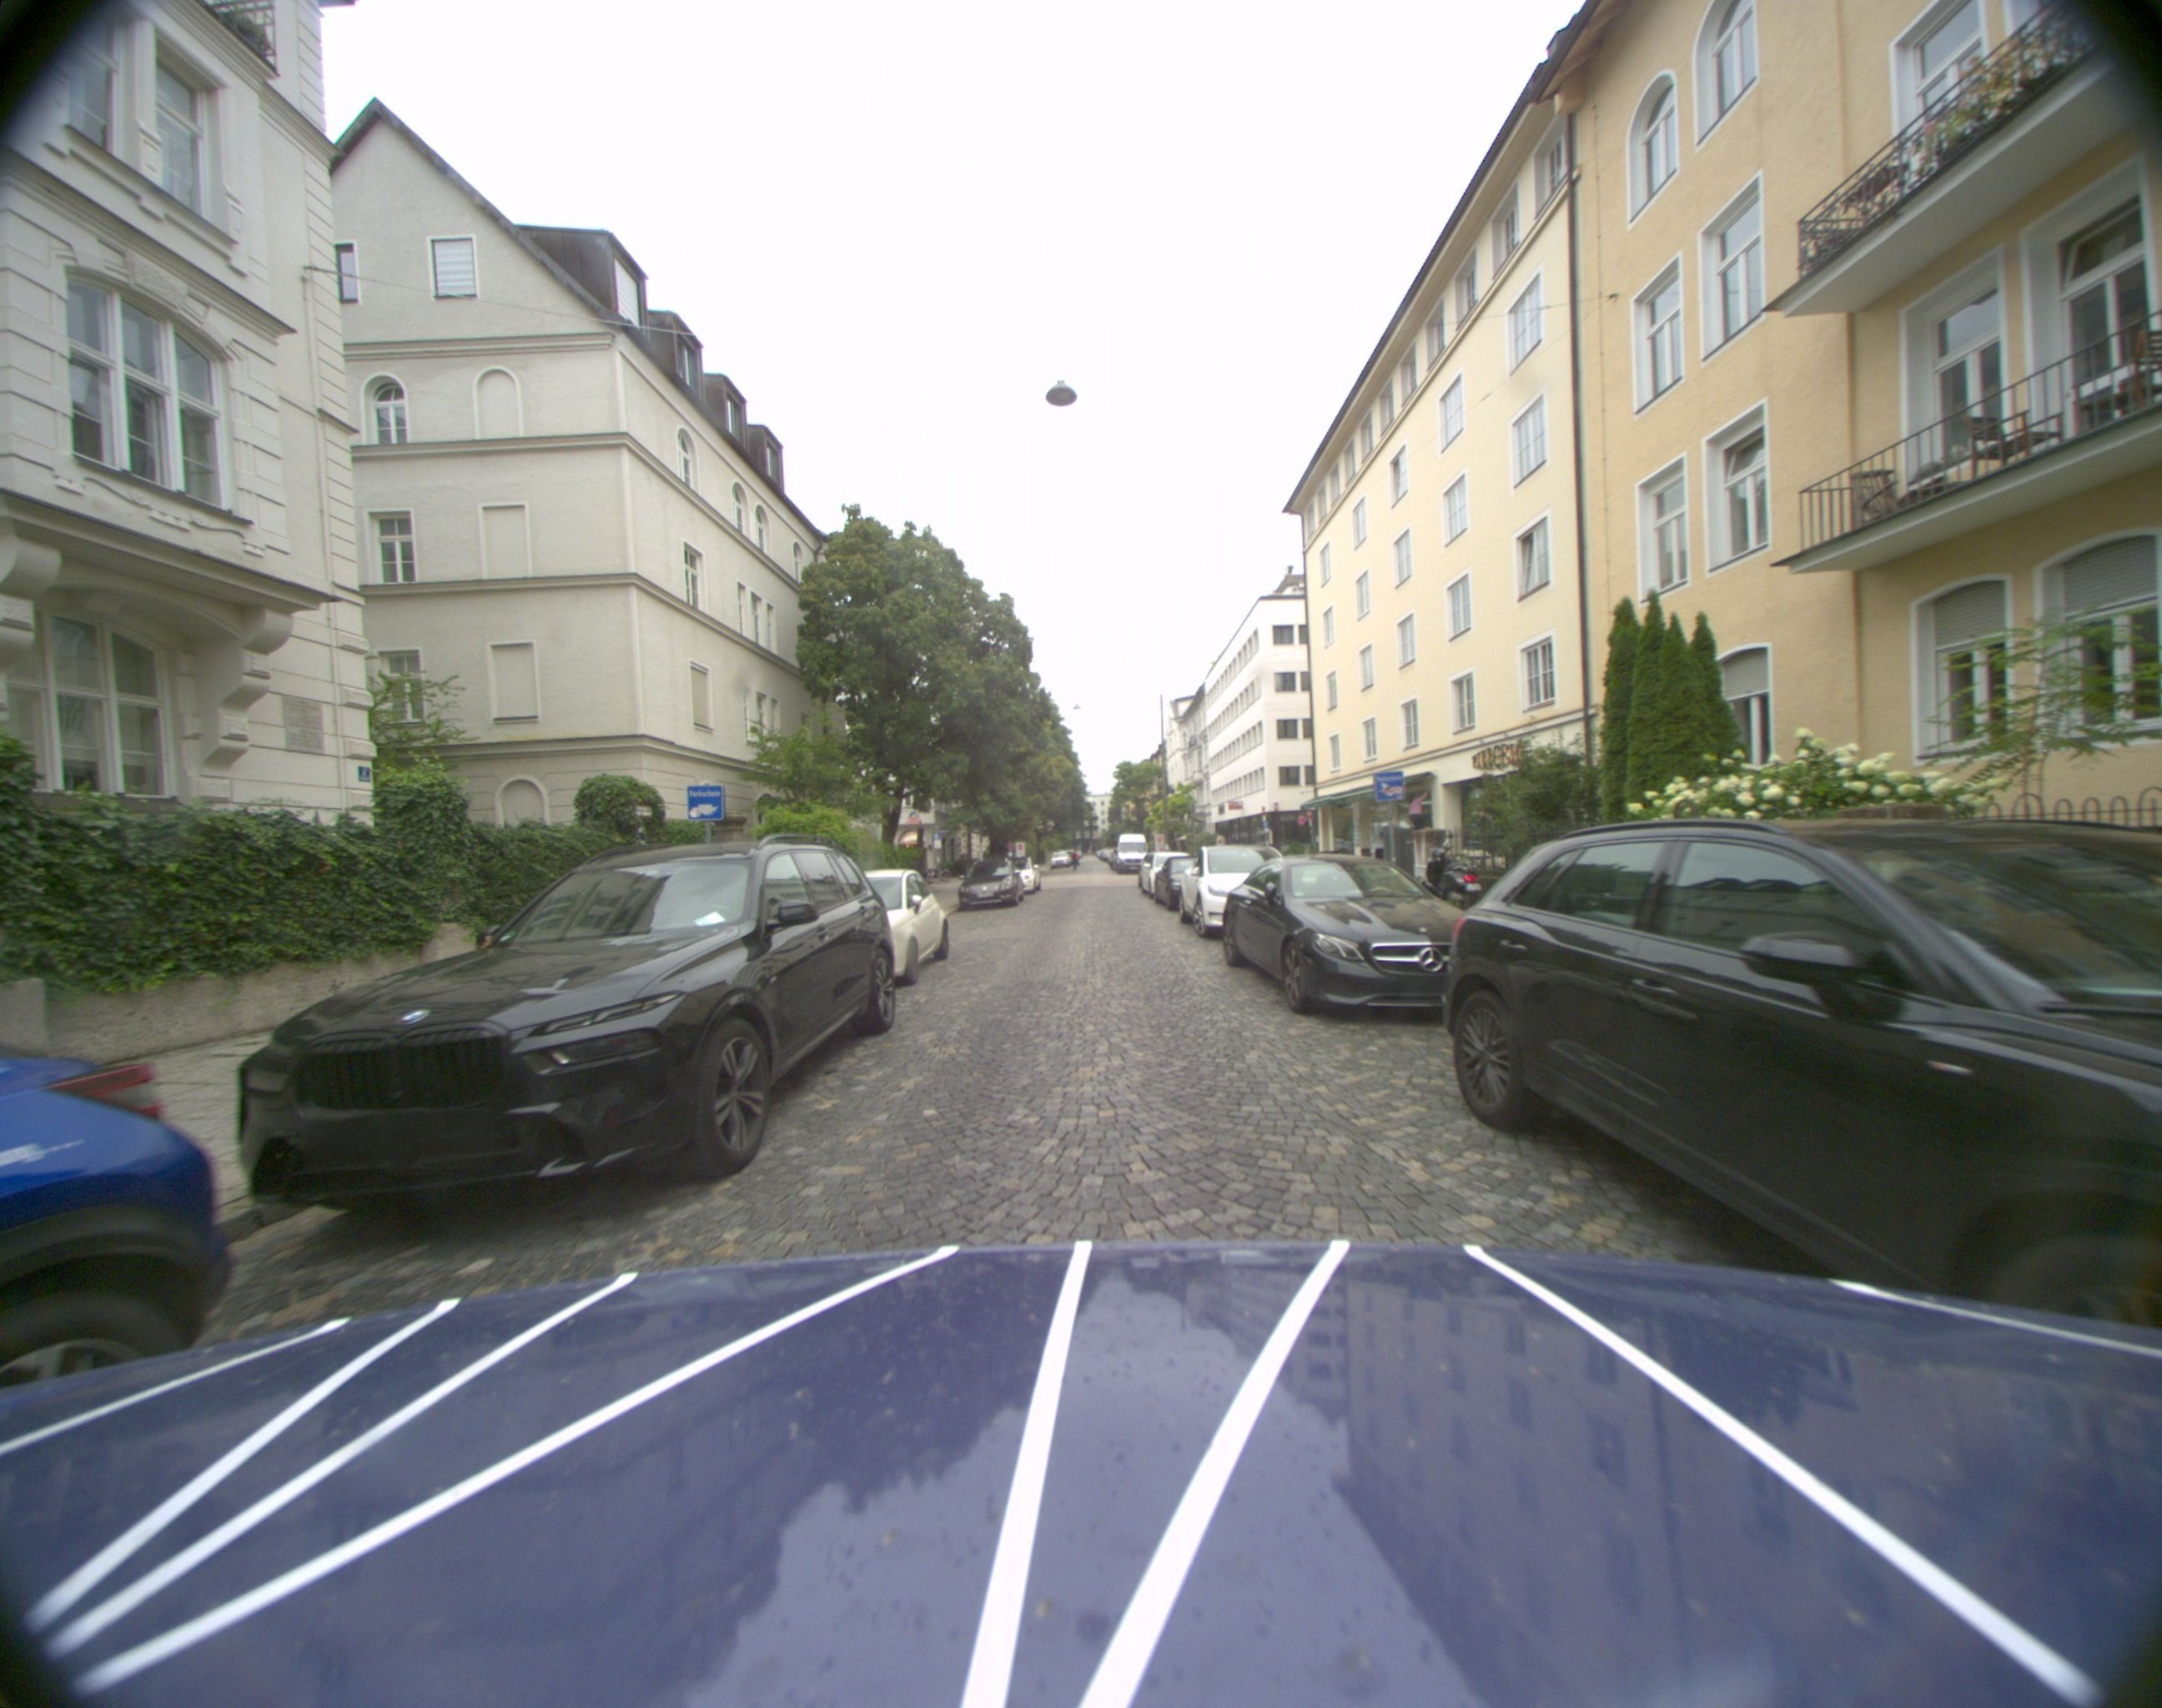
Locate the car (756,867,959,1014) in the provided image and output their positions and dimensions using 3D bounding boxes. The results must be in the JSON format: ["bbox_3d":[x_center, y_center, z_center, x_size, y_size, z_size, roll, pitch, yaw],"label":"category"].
[{"bbox_3d":[-2.933,1.059,10.807,1.634,1.461,3.658,-6,1,1],"label":"car"}]

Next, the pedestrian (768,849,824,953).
[{"bbox_3d":[-5.239,0.849,13.986,0.577,1.839,0.682,-4,1,8],"label":"pedestrian"}]

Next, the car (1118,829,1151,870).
[{"bbox_3d":[3.531,-0.367,51.034,1.981,2.559,5.794,-2,1,3],"label":"car"}]

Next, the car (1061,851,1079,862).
[{"bbox_3d":[-1.371,0.287,92.788,1.924,1.290,4.807,-4,1,-4],"label":"car"}]

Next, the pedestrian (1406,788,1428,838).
[{"bbox_3d":[11.290,-1.364,25.531,0.478,1.633,0.497,-4,2,5],"label":"pedestrian"}]

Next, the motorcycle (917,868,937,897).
[{"bbox_3d":[-6.224,1.127,30.695,0.363,1.084,1.403,-4,1,3],"label":"motorcycle"}]

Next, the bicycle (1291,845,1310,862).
[{"bbox_3d":[13.105,-0.021,45.376,0.398,0.963,1.893,-4,1,-5],"label":"bicycle"}]

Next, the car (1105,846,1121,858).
[{"bbox_3d":[4.431,-0.283,104.983,1.886,1.411,4.808,-4,1,0],"label":"car"}]

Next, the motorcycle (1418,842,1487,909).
[{"bbox_3d":[7.053,0.374,14.495,0.492,1.187,1.579,-4,1,0],"label":"motorcycle"}]

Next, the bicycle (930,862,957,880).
[{"bbox_3d":[-9.012,1.114,49.880,1.605,1.064,0.738,-2,5,4],"label":"bicycle"}]

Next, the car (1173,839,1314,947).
[{"bbox_3d":[2.898,0.587,14.492,1.778,1.638,4.390,-4,1,2],"label":"car"}]

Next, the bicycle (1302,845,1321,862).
[{"bbox_3d":[13.769,-0.051,45.457,0.398,0.963,1.893,-4,1,-5],"label":"bicycle"}]

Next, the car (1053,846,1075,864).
[{"bbox_3d":[-1.763,0.057,80.076,1.925,1.676,4.633,-3,2,2],"label":"car"}]

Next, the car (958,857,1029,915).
[{"bbox_3d":[-2.767,0.970,24.939,1.652,1.414,4.631,-7,1,0],"label":"car"}]

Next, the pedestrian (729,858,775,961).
[{"bbox_3d":[-6.020,0.987,13.917,0.630,1.798,0.659,-4,2,-22],"label":"pedestrian"}]

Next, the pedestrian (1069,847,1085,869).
[{"bbox_3d":[-0.332,0.317,62.804,1.105,1.768,1.263,-4,2,2],"label":"pedestrian"}]

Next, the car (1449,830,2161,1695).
[{"bbox_3d":[2.820,0.738,2.274,1.583,1.581,4.055,-1,1,2],"label":"car"}]

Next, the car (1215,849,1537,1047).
[{"bbox_3d":[2.746,0.739,8.257,1.778,1.421,4.390,-4,1,1],"label":"car"}]

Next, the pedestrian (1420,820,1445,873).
[{"bbox_3d":[11.489,-0.259,24.829,0.462,1.681,0.574,-4,2,1],"label":"pedestrian"}]

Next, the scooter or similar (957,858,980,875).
[{"bbox_3d":[-8.112,0.871,54.713,1.604,1.166,0.405,-2,2,24],"label":"scooter or similar"}]

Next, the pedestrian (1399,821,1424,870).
[{"bbox_3d":[11.403,-0.285,26.243,0.523,1.633,0.629,-4,2,0],"label":"pedestrian"}]

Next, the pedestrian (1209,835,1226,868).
[{"bbox_3d":[7.769,-0.152,43.250,0.615,1.830,0.813,-4,2,-6],"label":"pedestrian"}]

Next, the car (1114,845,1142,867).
[{"bbox_3d":[3.493,0.103,56.491,1.666,1.474,3.981,-4,1,-1],"label":"car"}]

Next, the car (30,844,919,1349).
[{"bbox_3d":[-2.736,0.837,5.460,1.880,1.663,5.489,-4,1,0],"label":"car"}]

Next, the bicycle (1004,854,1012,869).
[{"bbox_3d":[-5.998,0.620,62.622,0.428,1.191,1.730,2,2,2],"label":"bicycle"}]

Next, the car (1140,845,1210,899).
[{"bbox_3d":[3.074,0.525,25.786,1.778,1.527,4.539,-4,1,1],"label":"car"}]

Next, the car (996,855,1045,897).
[{"bbox_3d":[-2.428,0.840,31.366,1.505,1.463,3.795,-3,1,2],"label":"car"}]

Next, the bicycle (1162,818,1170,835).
[{"bbox_3d":[5.499,-1.773,49.350,0.256,1.120,1.806,-4,1,0],"label":"bicycle"}]

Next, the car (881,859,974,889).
[{"bbox_3d":[-8.266,1.083,41.069,4.476,1.350,1.761,-3,1,8],"label":"car"}]

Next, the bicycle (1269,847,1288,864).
[{"bbox_3d":[11.724,0.080,45.190,0.398,0.963,1.893,-4,1,-5],"label":"bicycle"}]

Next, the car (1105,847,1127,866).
[{"bbox_3d":[2.889,0.144,62.919,1.730,1.456,4.473,-1,1,2],"label":"car"}]

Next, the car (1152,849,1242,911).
[{"bbox_3d":[3.065,0.620,20.917,1.778,1.352,4.390,-4,1,1],"label":"car"}]

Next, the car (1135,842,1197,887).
[{"bbox_3d":[3.407,0.376,31.300,1.857,1.577,4.746,-4,1,-1],"label":"car"}]

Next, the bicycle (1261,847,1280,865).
[{"bbox_3d":[11.250,0.107,45.144,0.398,0.963,1.893,-4,1,-5],"label":"bicycle"}]

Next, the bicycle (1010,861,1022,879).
[{"bbox_3d":[-4.531,1.088,52.996,0.389,1.140,1.590,-3,1,8],"label":"bicycle"}]

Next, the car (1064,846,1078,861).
[{"bbox_3d":[-1.355,-0.096,105.538,1.818,1.809,4.807,-3,1,0],"label":"car"}]

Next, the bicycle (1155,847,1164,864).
[{"bbox_3d":[5.121,0.104,49.701,0.286,1.085,1.815,-4,1,-1],"label":"bicycle"}]

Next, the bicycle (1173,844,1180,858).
[{"bbox_3d":[8.297,-0.285,65.901,0.361,1.168,1.911,-4,1,3],"label":"bicycle"}]
